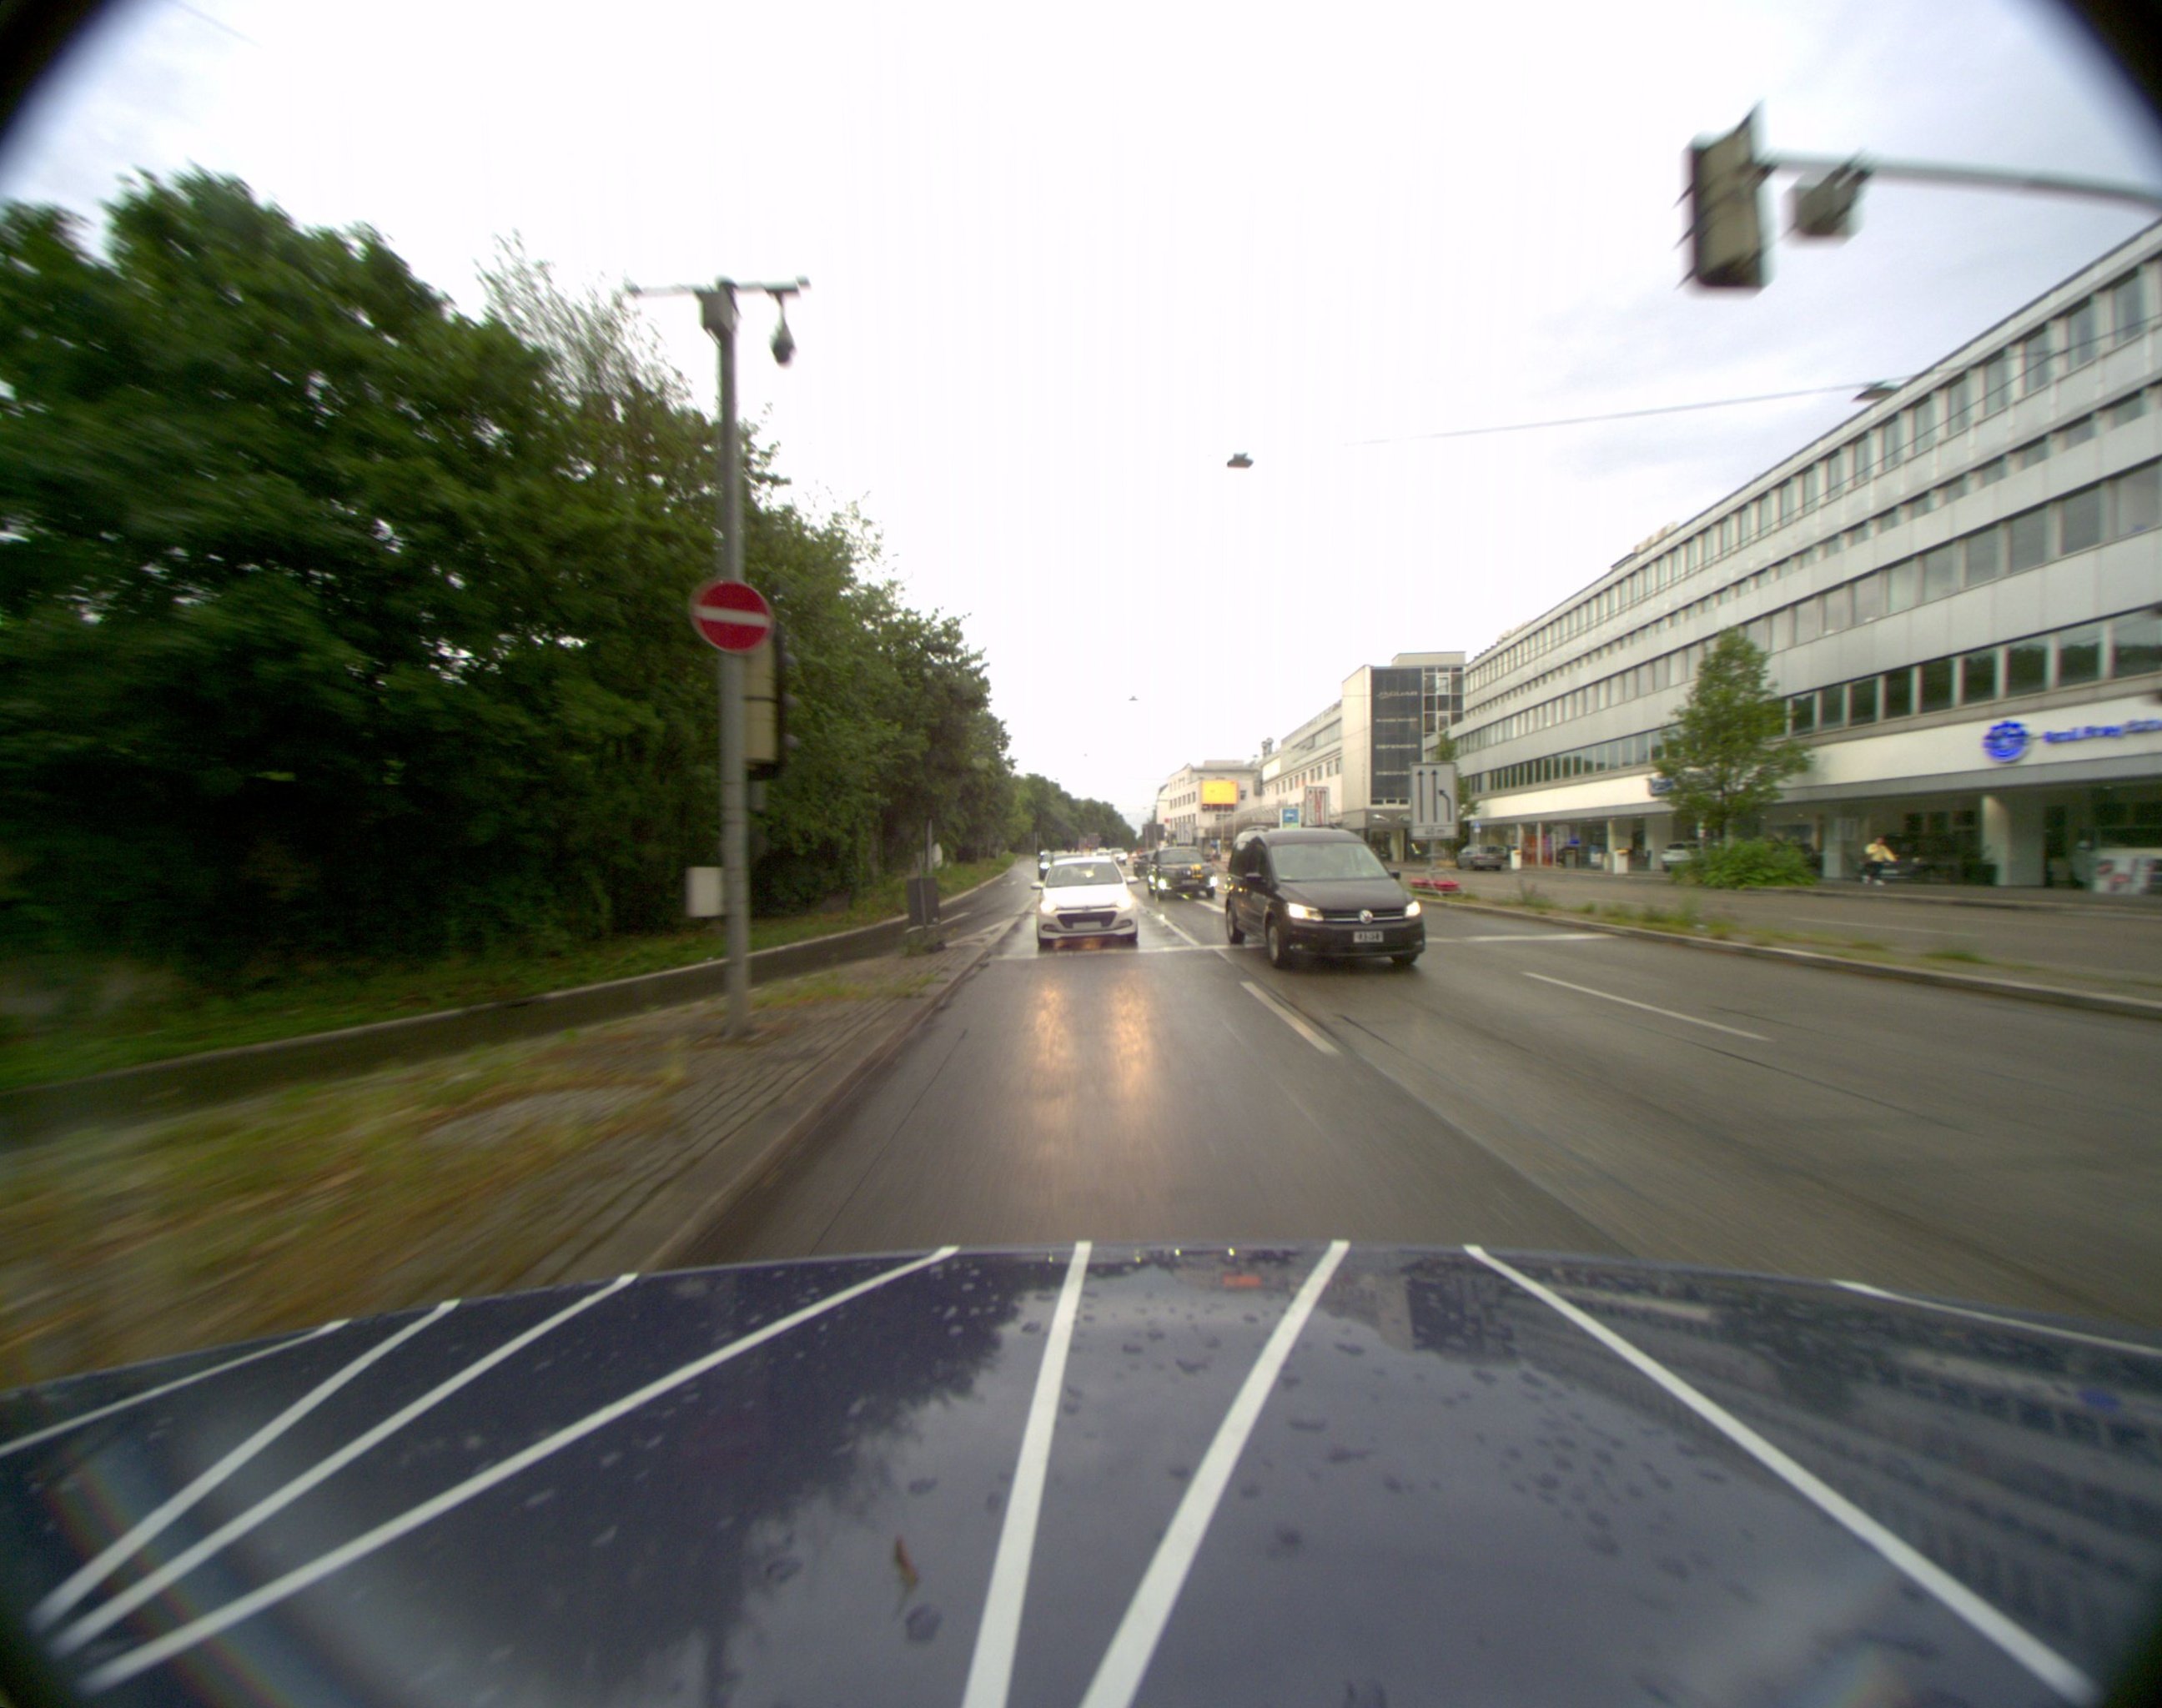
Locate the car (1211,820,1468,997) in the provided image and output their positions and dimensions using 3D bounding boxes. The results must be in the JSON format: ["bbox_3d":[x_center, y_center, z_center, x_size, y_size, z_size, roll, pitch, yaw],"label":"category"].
[{"bbox_3d":[3.173,0.565,10.404,1.905,1.804,4.429,-3,1,0],"label":"car"}]

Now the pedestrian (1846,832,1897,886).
[{"bbox_3d":[26.437,0.160,25.420,0.761,1.765,0.864,-3,1,6],"label":"pedestrian"}]

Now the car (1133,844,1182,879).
[{"bbox_3d":[3.791,0.328,38.377,1.814,1.590,4.332,-3,1,-2],"label":"car"}]

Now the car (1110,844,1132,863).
[{"bbox_3d":[3.746,-0.085,72.312,1.771,1.628,4.332,-3,1,0],"label":"car"}]

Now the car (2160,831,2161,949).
[{"bbox_3d":[15.539,0.496,8.056,1.894,1.601,4.456,-1,1,1],"label":"car"}]

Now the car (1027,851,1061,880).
[{"bbox_3d":[-2.208,0.673,46.613,1.814,1.590,4.332,-3,1,0],"label":"car"}]

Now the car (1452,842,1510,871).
[{"bbox_3d":[27.246,0.152,51.927,1.922,1.805,4.165,-3,1,4],"label":"car"}]

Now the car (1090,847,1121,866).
[{"bbox_3d":[2.134,0.156,64.918,1.769,1.407,4.336,-3,1,12],"label":"car"}]

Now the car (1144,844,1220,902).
[{"bbox_3d":[3.165,0.537,24.629,1.814,1.590,4.332,-3,1,0],"label":"car"}]

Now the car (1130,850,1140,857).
[{"bbox_3d":[12.277,-0.046,172.840,1.805,1.523,3.764,1,0,0],"label":"car"}]

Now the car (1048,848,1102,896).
[{"bbox_3d":[-0.227,0.636,29.238,1.814,1.590,4.332,-3,1,0],"label":"car"}]

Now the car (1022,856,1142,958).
[{"bbox_3d":[0.011,0.848,14.211,1.814,1.444,4.332,-3,1,0],"label":"car"}]

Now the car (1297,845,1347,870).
[{"bbox_3d":[14.673,0.182,46.420,1.690,1.411,4.214,0,1,-1],"label":"car"}]
